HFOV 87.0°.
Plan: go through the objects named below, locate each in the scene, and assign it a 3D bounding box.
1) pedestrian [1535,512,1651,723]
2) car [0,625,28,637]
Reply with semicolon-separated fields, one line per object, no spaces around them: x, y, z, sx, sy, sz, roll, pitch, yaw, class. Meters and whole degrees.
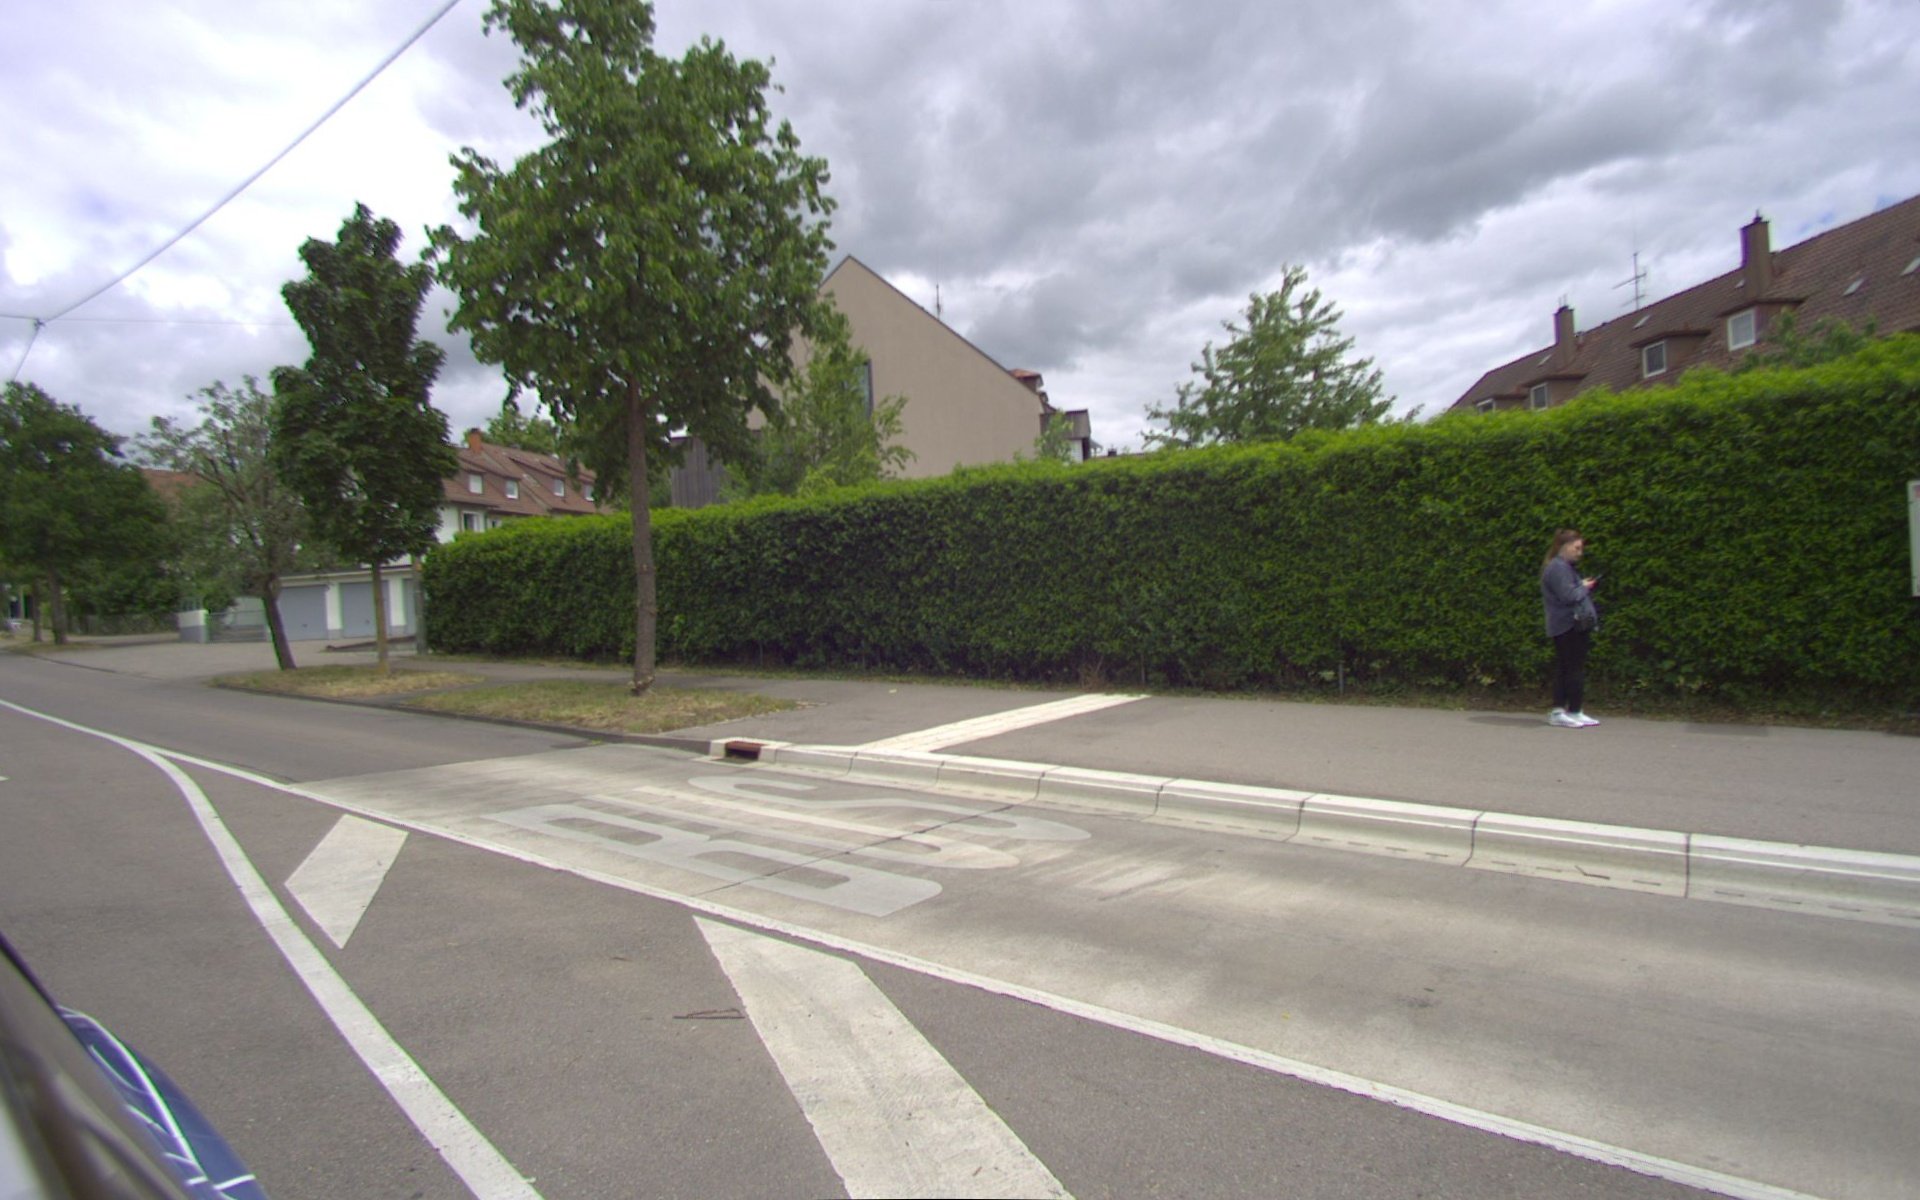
5.454;0.143;8.739;0.776;1.723;0.686;-2;0;33;pedestrian
-116.368;3.822;123.332;1.778;1.420;3.993;-2;0;6;car
